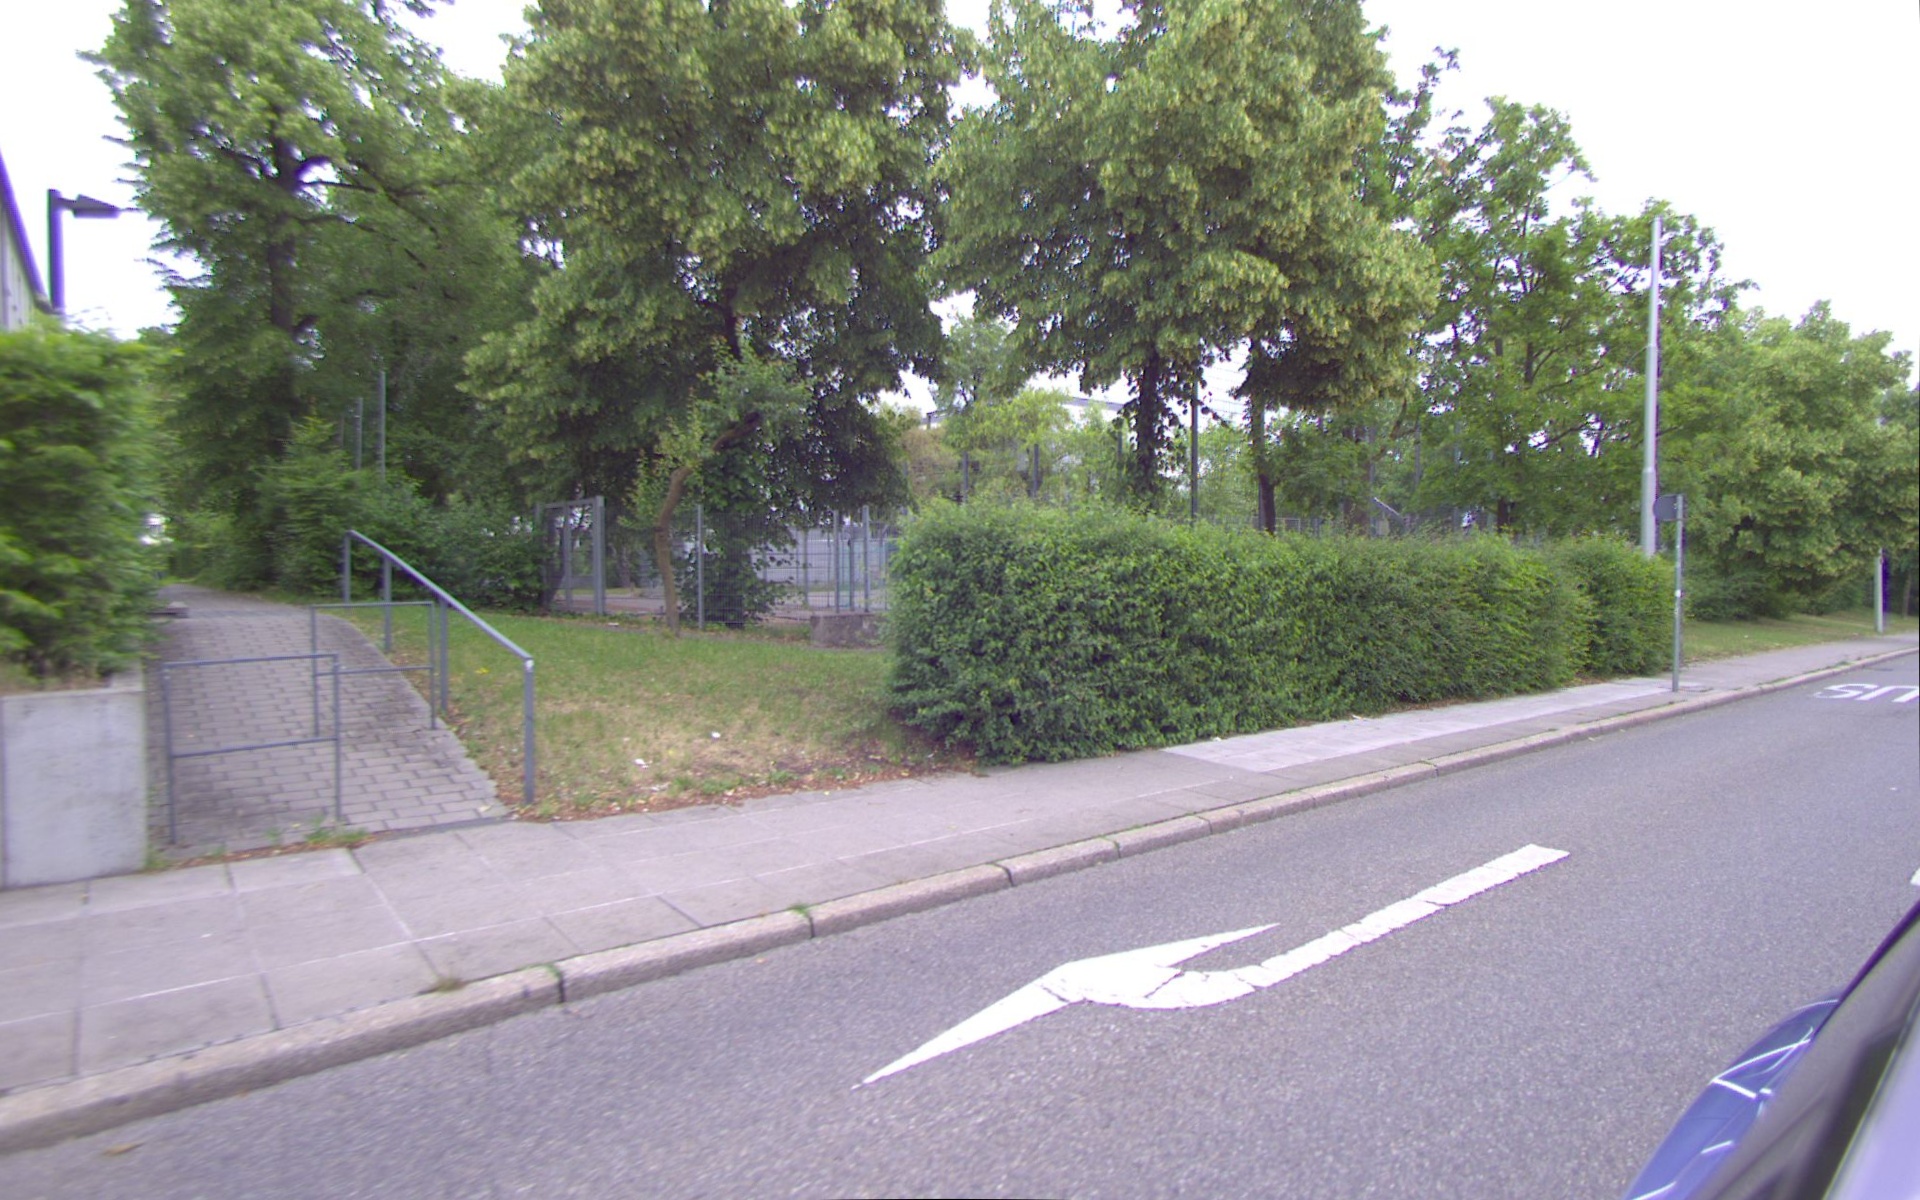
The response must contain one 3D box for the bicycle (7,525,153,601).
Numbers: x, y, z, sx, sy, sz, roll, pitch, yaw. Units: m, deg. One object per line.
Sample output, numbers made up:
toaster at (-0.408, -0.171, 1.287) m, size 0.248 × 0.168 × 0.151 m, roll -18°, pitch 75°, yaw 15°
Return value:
bicycle at (-12.180, -0.494, 14.052) m, size 1.507 × 1.009 × 0.350 m, roll 0°, pitch 1°, yaw -41°
